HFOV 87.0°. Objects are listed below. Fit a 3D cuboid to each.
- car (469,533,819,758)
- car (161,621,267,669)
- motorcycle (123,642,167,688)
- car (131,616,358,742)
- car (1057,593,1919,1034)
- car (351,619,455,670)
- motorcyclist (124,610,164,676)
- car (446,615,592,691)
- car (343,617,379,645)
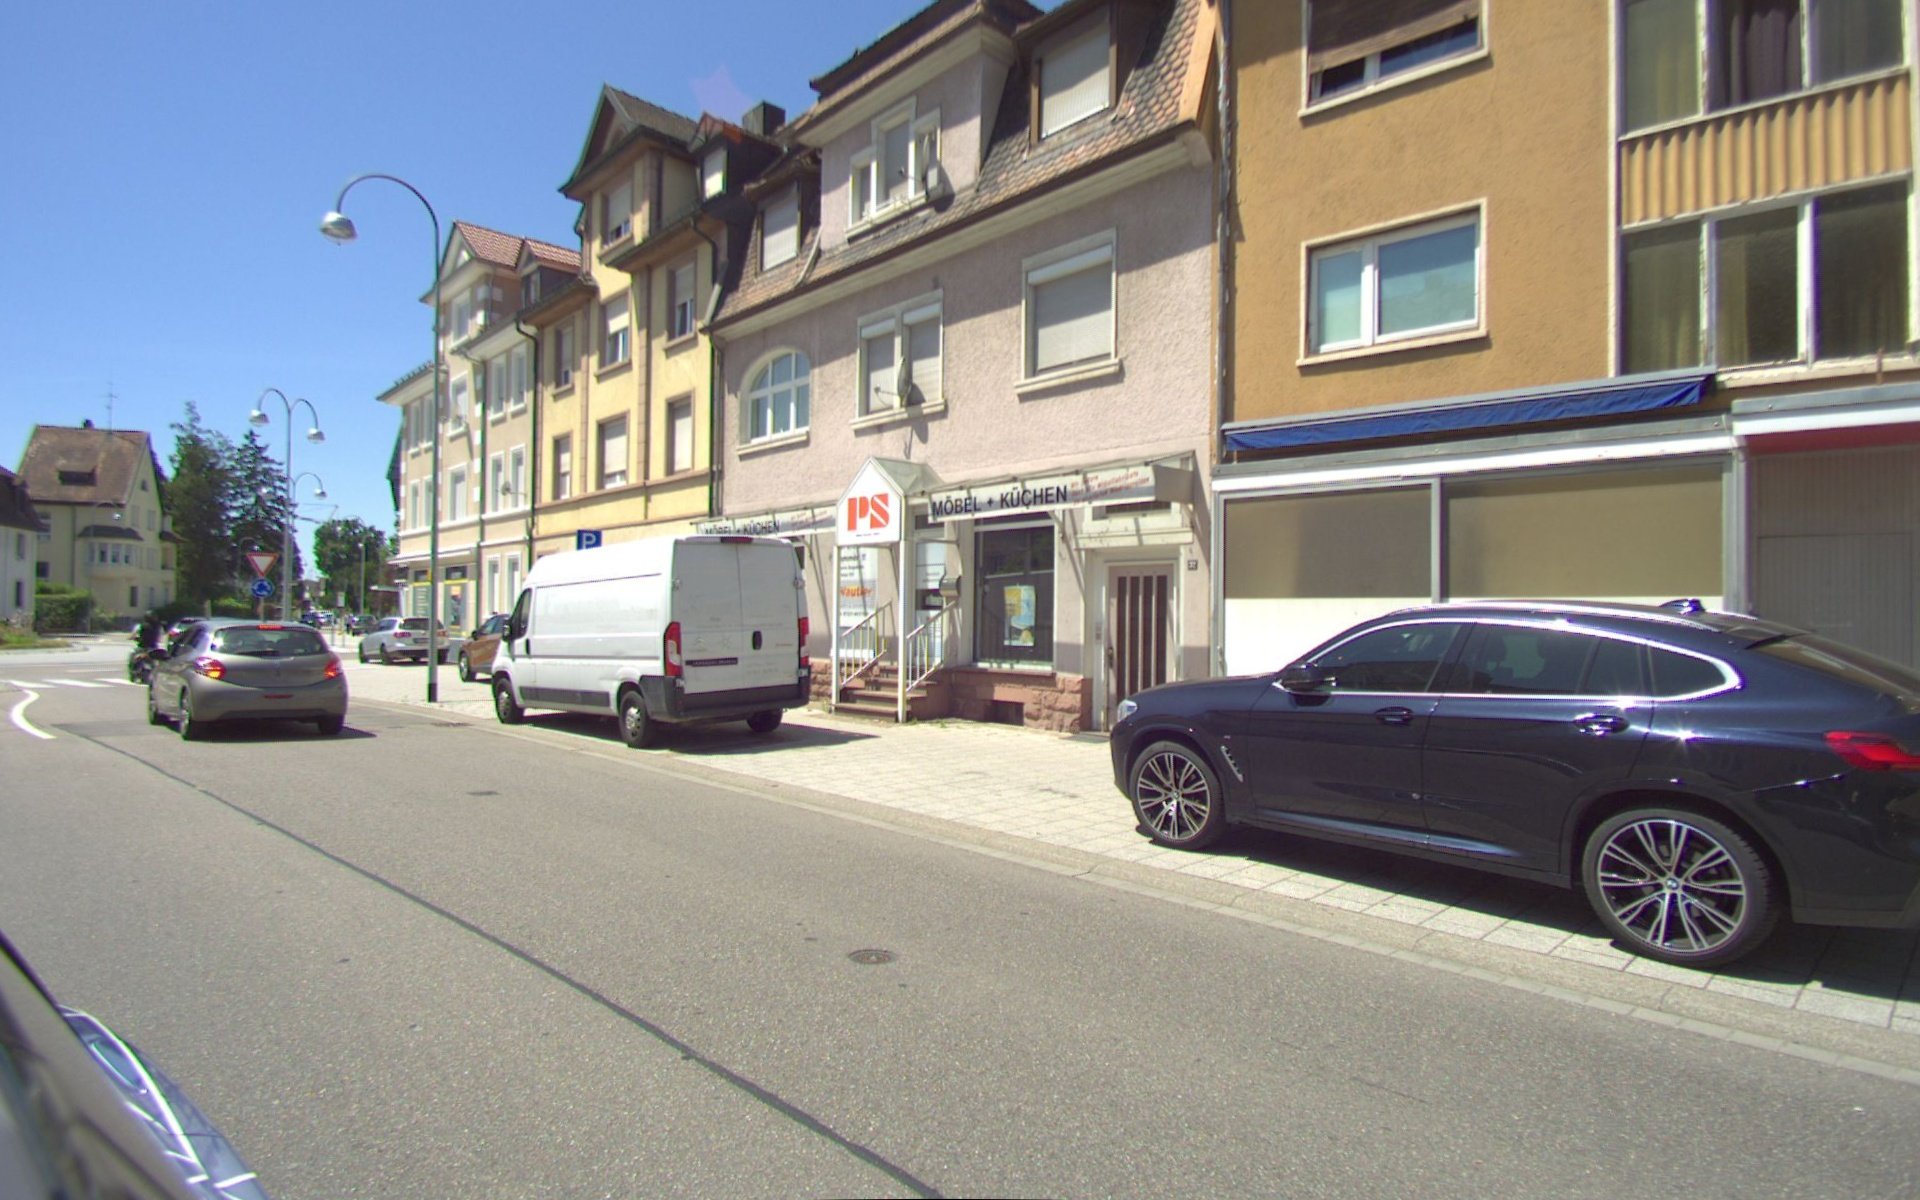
[{"bbox_3d":[-4.637,0.541,14.034,2.094,2.468,6.122,0,-1,-44],"label":"car"},{"bbox_3d":[-25.496,1.511,34.749,1.770,1.500,4.404,2,-2,-21],"label":"car"},{"bbox_3d":[-19.092,1.493,23.693,0.599,1.008,1.800,3,-3,-45],"label":"motorcycle"},{"bbox_3d":[-9.633,0.998,13.510,4.001,1.422,1.712,-2,-5,44],"label":"car"},{"bbox_3d":[3.102,0.841,5.975,2.058,1.627,5.118,0,-2,-38],"label":"car"},{"bbox_3d":[-17.760,1.373,32.159,1.773,1.514,4.951,1,-2,-43],"label":"car"},{"bbox_3d":[-19.182,1.003,23.792,0.896,1.536,0.594,-1,-3,45],"label":"motorcyclist"},{"bbox_3d":[-10.051,1.134,22.898,1.773,1.553,4.119,0,-1,-43],"label":"car"},{"bbox_3d":[-44.115,2.272,74.638,1.965,1.861,4.013,1,1,-27],"label":"car"}]
